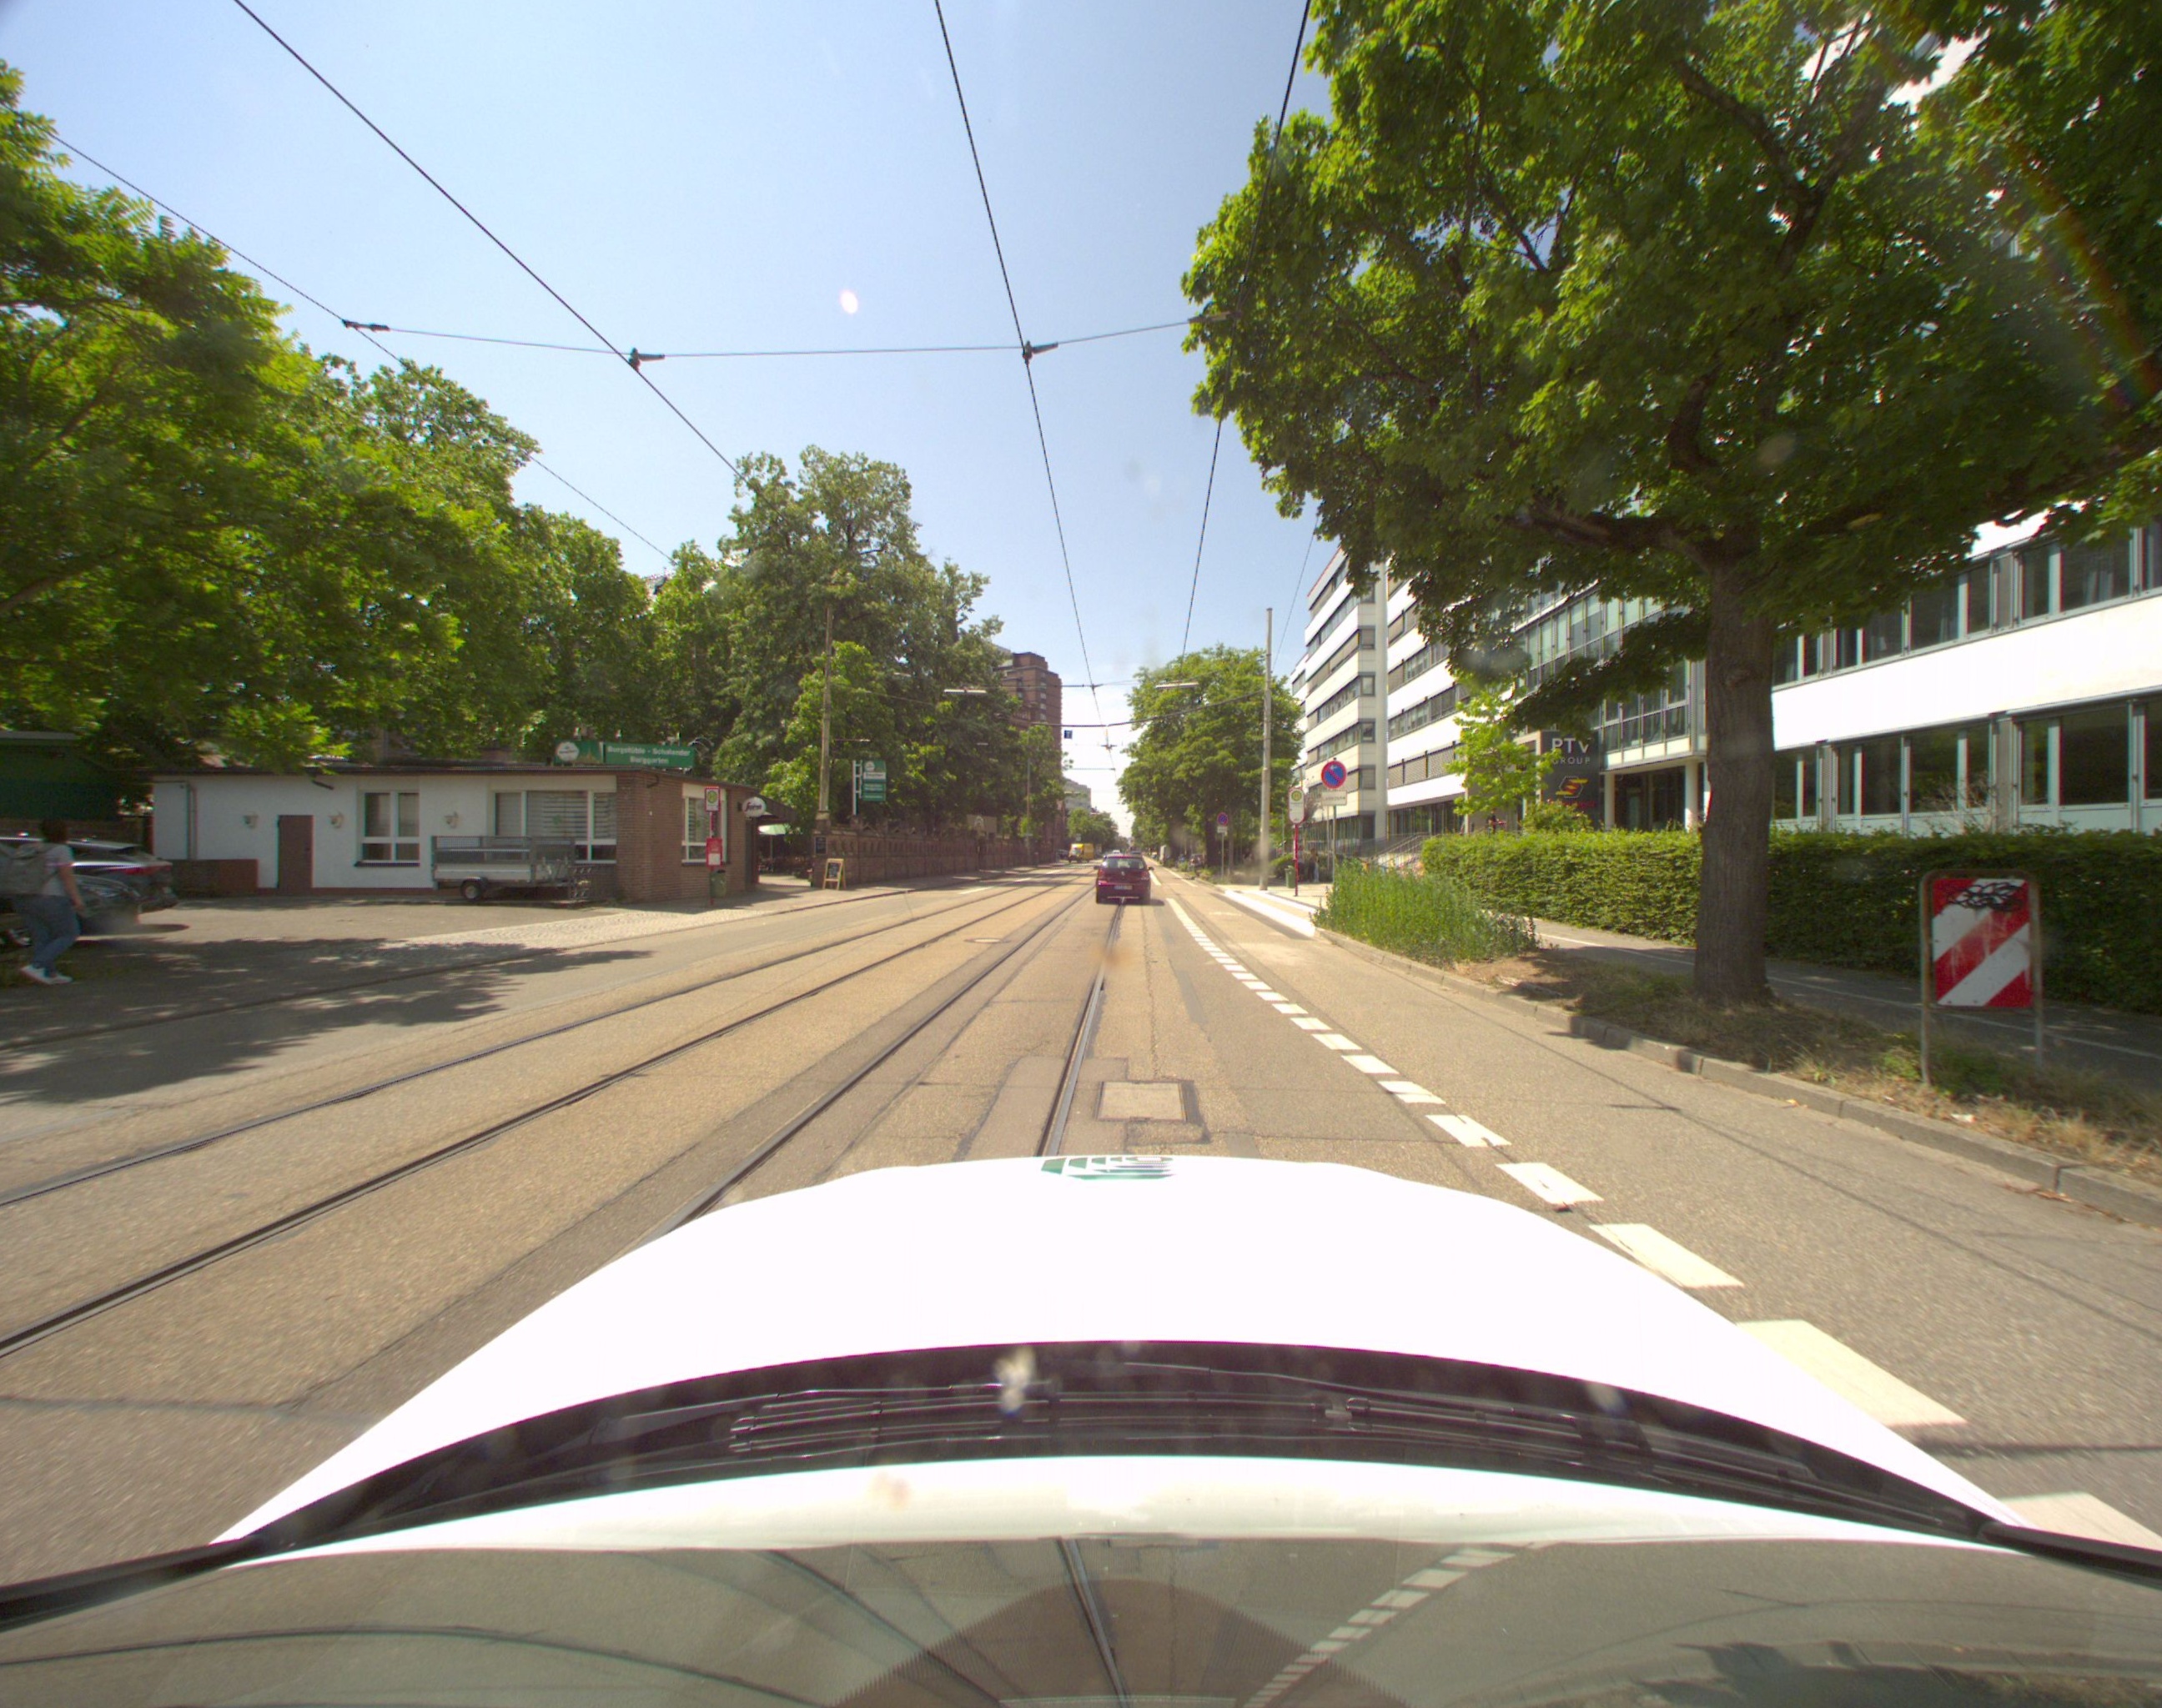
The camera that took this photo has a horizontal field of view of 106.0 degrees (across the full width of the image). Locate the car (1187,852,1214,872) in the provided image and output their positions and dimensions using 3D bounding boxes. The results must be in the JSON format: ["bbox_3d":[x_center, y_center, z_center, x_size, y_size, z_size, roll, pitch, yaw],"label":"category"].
[{"bbox_3d":[9.070,0.591,62.009,1.681,1.503,3.631,-1,0,4],"label":"car"}]

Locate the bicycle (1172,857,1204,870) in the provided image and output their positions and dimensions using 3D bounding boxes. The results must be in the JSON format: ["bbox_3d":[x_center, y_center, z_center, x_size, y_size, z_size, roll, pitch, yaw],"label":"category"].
[{"bbox_3d":[10.482,0.938,79.750,3.058,1.154,0.782,2,0,1],"label":"bicycle"}]

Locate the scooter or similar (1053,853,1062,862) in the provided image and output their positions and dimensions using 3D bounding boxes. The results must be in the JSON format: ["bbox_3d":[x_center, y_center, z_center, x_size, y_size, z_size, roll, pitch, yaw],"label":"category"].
[{"bbox_3d":[-3.124,0.416,108.985,1.091,1.155,0.524,2,0,-18],"label":"scooter or similar"}]

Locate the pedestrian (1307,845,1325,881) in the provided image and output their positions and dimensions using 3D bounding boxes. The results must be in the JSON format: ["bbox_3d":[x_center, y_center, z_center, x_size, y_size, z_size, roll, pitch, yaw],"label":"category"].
[{"bbox_3d":[11.287,0.448,39.138,0.540,1.715,0.561,-1,-1,-26],"label":"pedestrian"}]

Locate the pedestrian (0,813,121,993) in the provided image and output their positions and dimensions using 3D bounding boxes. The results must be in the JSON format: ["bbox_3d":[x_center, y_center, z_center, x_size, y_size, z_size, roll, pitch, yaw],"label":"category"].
[{"bbox_3d":[-10.690,0.479,8.444,0.578,1.775,0.699,2,0,0],"label":"pedestrian"}]

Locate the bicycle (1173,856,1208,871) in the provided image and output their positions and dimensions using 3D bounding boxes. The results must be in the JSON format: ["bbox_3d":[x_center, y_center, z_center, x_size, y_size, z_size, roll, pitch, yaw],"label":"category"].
[{"bbox_3d":[11.053,0.960,82.325,3.355,1.313,0.782,2,0,1],"label":"bicycle"}]

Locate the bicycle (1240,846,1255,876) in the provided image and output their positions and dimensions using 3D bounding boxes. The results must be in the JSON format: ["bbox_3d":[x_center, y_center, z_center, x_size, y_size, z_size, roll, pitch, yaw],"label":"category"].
[{"bbox_3d":[9.956,0.418,48.811,0.686,1.785,1.814,-1,-1,7],"label":"bicycle"}]

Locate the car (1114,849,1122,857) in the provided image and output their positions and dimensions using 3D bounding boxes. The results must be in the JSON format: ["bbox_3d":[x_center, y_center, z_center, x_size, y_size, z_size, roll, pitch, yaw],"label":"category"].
[{"bbox_3d":[9.087,-0.193,199.414,1.985,1.854,4.687,0,0,4],"label":"car"}]

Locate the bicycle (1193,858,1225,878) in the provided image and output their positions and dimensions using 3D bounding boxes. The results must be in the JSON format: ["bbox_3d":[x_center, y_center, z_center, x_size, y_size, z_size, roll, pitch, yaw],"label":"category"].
[{"bbox_3d":[7.847,0.839,49.872,1.875,1.182,0.695,0,-1,3],"label":"bicycle"}]

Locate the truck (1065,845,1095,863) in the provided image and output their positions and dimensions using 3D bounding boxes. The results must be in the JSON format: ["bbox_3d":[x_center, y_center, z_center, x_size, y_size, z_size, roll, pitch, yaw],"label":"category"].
[{"bbox_3d":[-0.054,0.038,127.084,2.350,2.787,7.355,0,0,19],"label":"truck"}]

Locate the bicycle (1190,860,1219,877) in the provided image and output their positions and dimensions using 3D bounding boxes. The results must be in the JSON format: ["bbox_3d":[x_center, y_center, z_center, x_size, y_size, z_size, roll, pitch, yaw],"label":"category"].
[{"bbox_3d":[7.729,0.897,50.992,1.815,1.085,0.720,0,-1,7],"label":"bicycle"}]

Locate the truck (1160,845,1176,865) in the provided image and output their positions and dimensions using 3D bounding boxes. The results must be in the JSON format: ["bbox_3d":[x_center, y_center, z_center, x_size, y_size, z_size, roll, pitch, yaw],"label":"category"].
[{"bbox_3d":[11.943,0.078,111.803,1.985,2.661,4.880,2,0,4],"label":"truck"}]

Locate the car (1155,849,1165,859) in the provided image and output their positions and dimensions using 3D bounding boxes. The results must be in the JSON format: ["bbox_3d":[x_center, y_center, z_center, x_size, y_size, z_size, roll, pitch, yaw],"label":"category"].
[{"bbox_3d":[13.837,-0.041,143.025,1.667,1.656,4.004,2,0,4],"label":"car"}]

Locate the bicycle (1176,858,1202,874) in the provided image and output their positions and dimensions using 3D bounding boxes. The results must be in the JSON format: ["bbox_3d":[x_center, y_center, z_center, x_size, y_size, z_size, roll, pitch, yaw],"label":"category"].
[{"bbox_3d":[7.395,0.795,55.909,1.743,1.085,0.549,0,0,3],"label":"bicycle"}]

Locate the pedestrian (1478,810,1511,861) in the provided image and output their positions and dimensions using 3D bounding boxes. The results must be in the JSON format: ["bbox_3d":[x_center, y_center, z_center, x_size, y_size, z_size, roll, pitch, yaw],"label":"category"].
[{"bbox_3d":[14.190,-0.622,27.974,0.866,1.715,1.095,-2,-1,22],"label":"pedestrian"}]

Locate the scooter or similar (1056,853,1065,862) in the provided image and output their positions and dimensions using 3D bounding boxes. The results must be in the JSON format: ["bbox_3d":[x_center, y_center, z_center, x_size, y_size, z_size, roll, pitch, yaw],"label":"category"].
[{"bbox_3d":[-2.773,0.526,110.415,1.091,1.155,0.524,2,0,-18],"label":"scooter or similar"}]

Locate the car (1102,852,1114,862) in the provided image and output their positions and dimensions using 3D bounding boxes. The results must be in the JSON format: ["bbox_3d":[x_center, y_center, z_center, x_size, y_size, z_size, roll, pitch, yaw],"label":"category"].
[{"bbox_3d":[4.321,0.469,131.890,1.763,1.516,4.004,0,0,4],"label":"car"}]

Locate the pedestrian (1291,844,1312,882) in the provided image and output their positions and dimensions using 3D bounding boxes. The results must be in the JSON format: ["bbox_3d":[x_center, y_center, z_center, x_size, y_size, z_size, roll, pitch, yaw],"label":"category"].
[{"bbox_3d":[10.731,0.433,39.659,0.681,1.796,0.668,-1,0,-28],"label":"pedestrian"}]

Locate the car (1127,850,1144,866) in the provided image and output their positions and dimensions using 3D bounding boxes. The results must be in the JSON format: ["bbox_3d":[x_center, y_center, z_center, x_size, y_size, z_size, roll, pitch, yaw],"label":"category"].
[{"bbox_3d":[7.203,0.482,107.421,1.986,2.013,4.002,2,0,2],"label":"car"}]

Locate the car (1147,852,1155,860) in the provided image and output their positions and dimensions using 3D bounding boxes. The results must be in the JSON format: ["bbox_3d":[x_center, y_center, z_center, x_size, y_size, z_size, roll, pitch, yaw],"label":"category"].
[{"bbox_3d":[15.744,0.424,183.976,1.667,1.656,4.004,2,0,4],"label":"car"}]

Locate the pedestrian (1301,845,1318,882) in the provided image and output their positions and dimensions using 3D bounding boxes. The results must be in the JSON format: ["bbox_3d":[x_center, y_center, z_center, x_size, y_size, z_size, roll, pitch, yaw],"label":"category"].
[{"bbox_3d":[10.892,0.444,38.822,0.540,1.715,0.561,-1,-1,-26],"label":"pedestrian"}]

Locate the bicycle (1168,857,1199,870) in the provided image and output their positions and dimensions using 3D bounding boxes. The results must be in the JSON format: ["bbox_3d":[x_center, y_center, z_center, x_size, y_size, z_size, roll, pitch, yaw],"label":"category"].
[{"bbox_3d":[10.633,0.993,84.347,3.058,1.313,0.782,2,0,1],"label":"bicycle"}]

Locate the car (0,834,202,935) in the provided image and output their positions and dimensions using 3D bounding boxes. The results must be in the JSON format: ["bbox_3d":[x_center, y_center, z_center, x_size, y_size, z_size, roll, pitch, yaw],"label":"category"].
[{"bbox_3d":[-17.093,0.441,12.659,4.475,1.488,1.912,1,0,-42],"label":"car"}]

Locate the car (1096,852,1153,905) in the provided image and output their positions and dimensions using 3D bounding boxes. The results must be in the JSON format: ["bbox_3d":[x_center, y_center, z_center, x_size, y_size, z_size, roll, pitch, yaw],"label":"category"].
[{"bbox_3d":[1.352,0.694,25.163,1.612,1.486,4.003,0,0,3],"label":"car"}]

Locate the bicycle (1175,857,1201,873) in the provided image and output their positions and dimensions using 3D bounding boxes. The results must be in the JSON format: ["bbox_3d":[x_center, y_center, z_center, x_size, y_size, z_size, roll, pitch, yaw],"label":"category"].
[{"bbox_3d":[7.442,0.776,56.596,1.743,1.085,0.549,0,0,3],"label":"bicycle"}]

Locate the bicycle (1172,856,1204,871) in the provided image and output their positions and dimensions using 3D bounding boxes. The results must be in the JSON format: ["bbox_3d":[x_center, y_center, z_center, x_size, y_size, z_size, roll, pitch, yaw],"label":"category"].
[{"bbox_3d":[10.658,0.944,80.974,3.058,1.313,0.782,2,0,1],"label":"bicycle"}]

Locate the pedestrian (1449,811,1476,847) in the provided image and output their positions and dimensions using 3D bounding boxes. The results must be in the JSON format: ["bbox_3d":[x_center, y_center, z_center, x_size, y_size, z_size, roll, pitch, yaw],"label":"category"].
[{"bbox_3d":[18.238,-1.191,38.945,0.874,1.716,0.808,2,0,2],"label":"pedestrian"}]

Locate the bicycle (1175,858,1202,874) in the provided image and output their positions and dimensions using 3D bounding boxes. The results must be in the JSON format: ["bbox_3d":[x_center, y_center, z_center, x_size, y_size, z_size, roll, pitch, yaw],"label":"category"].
[{"bbox_3d":[7.236,0.822,54.876,1.743,1.085,0.549,0,0,3],"label":"bicycle"}]

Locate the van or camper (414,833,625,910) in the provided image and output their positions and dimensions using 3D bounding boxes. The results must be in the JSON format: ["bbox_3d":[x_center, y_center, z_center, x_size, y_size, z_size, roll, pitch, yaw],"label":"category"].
[{"bbox_3d":[-13.355,0.378,19.528,3.768,1.629,1.873,2,1,3],"label":"van or camper"}]

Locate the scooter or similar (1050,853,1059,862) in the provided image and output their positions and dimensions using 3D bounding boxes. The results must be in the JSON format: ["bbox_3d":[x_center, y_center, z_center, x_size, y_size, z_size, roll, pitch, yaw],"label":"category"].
[{"bbox_3d":[-3.482,0.468,106.451,1.091,1.155,0.524,2,0,-18],"label":"scooter or similar"}]

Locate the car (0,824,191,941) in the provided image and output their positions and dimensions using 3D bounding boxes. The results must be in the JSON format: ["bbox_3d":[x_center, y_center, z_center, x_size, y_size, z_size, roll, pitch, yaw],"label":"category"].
[{"bbox_3d":[-15.070,0.339,10.706,1.911,1.488,4.477,2,0,43],"label":"car"}]

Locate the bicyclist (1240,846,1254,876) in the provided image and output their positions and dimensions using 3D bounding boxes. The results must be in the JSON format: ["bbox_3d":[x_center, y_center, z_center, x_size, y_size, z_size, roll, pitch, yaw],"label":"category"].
[{"bbox_3d":[9.966,0.431,48.866,0.693,1.799,0.889,-1,-1,7],"label":"bicyclist"}]
